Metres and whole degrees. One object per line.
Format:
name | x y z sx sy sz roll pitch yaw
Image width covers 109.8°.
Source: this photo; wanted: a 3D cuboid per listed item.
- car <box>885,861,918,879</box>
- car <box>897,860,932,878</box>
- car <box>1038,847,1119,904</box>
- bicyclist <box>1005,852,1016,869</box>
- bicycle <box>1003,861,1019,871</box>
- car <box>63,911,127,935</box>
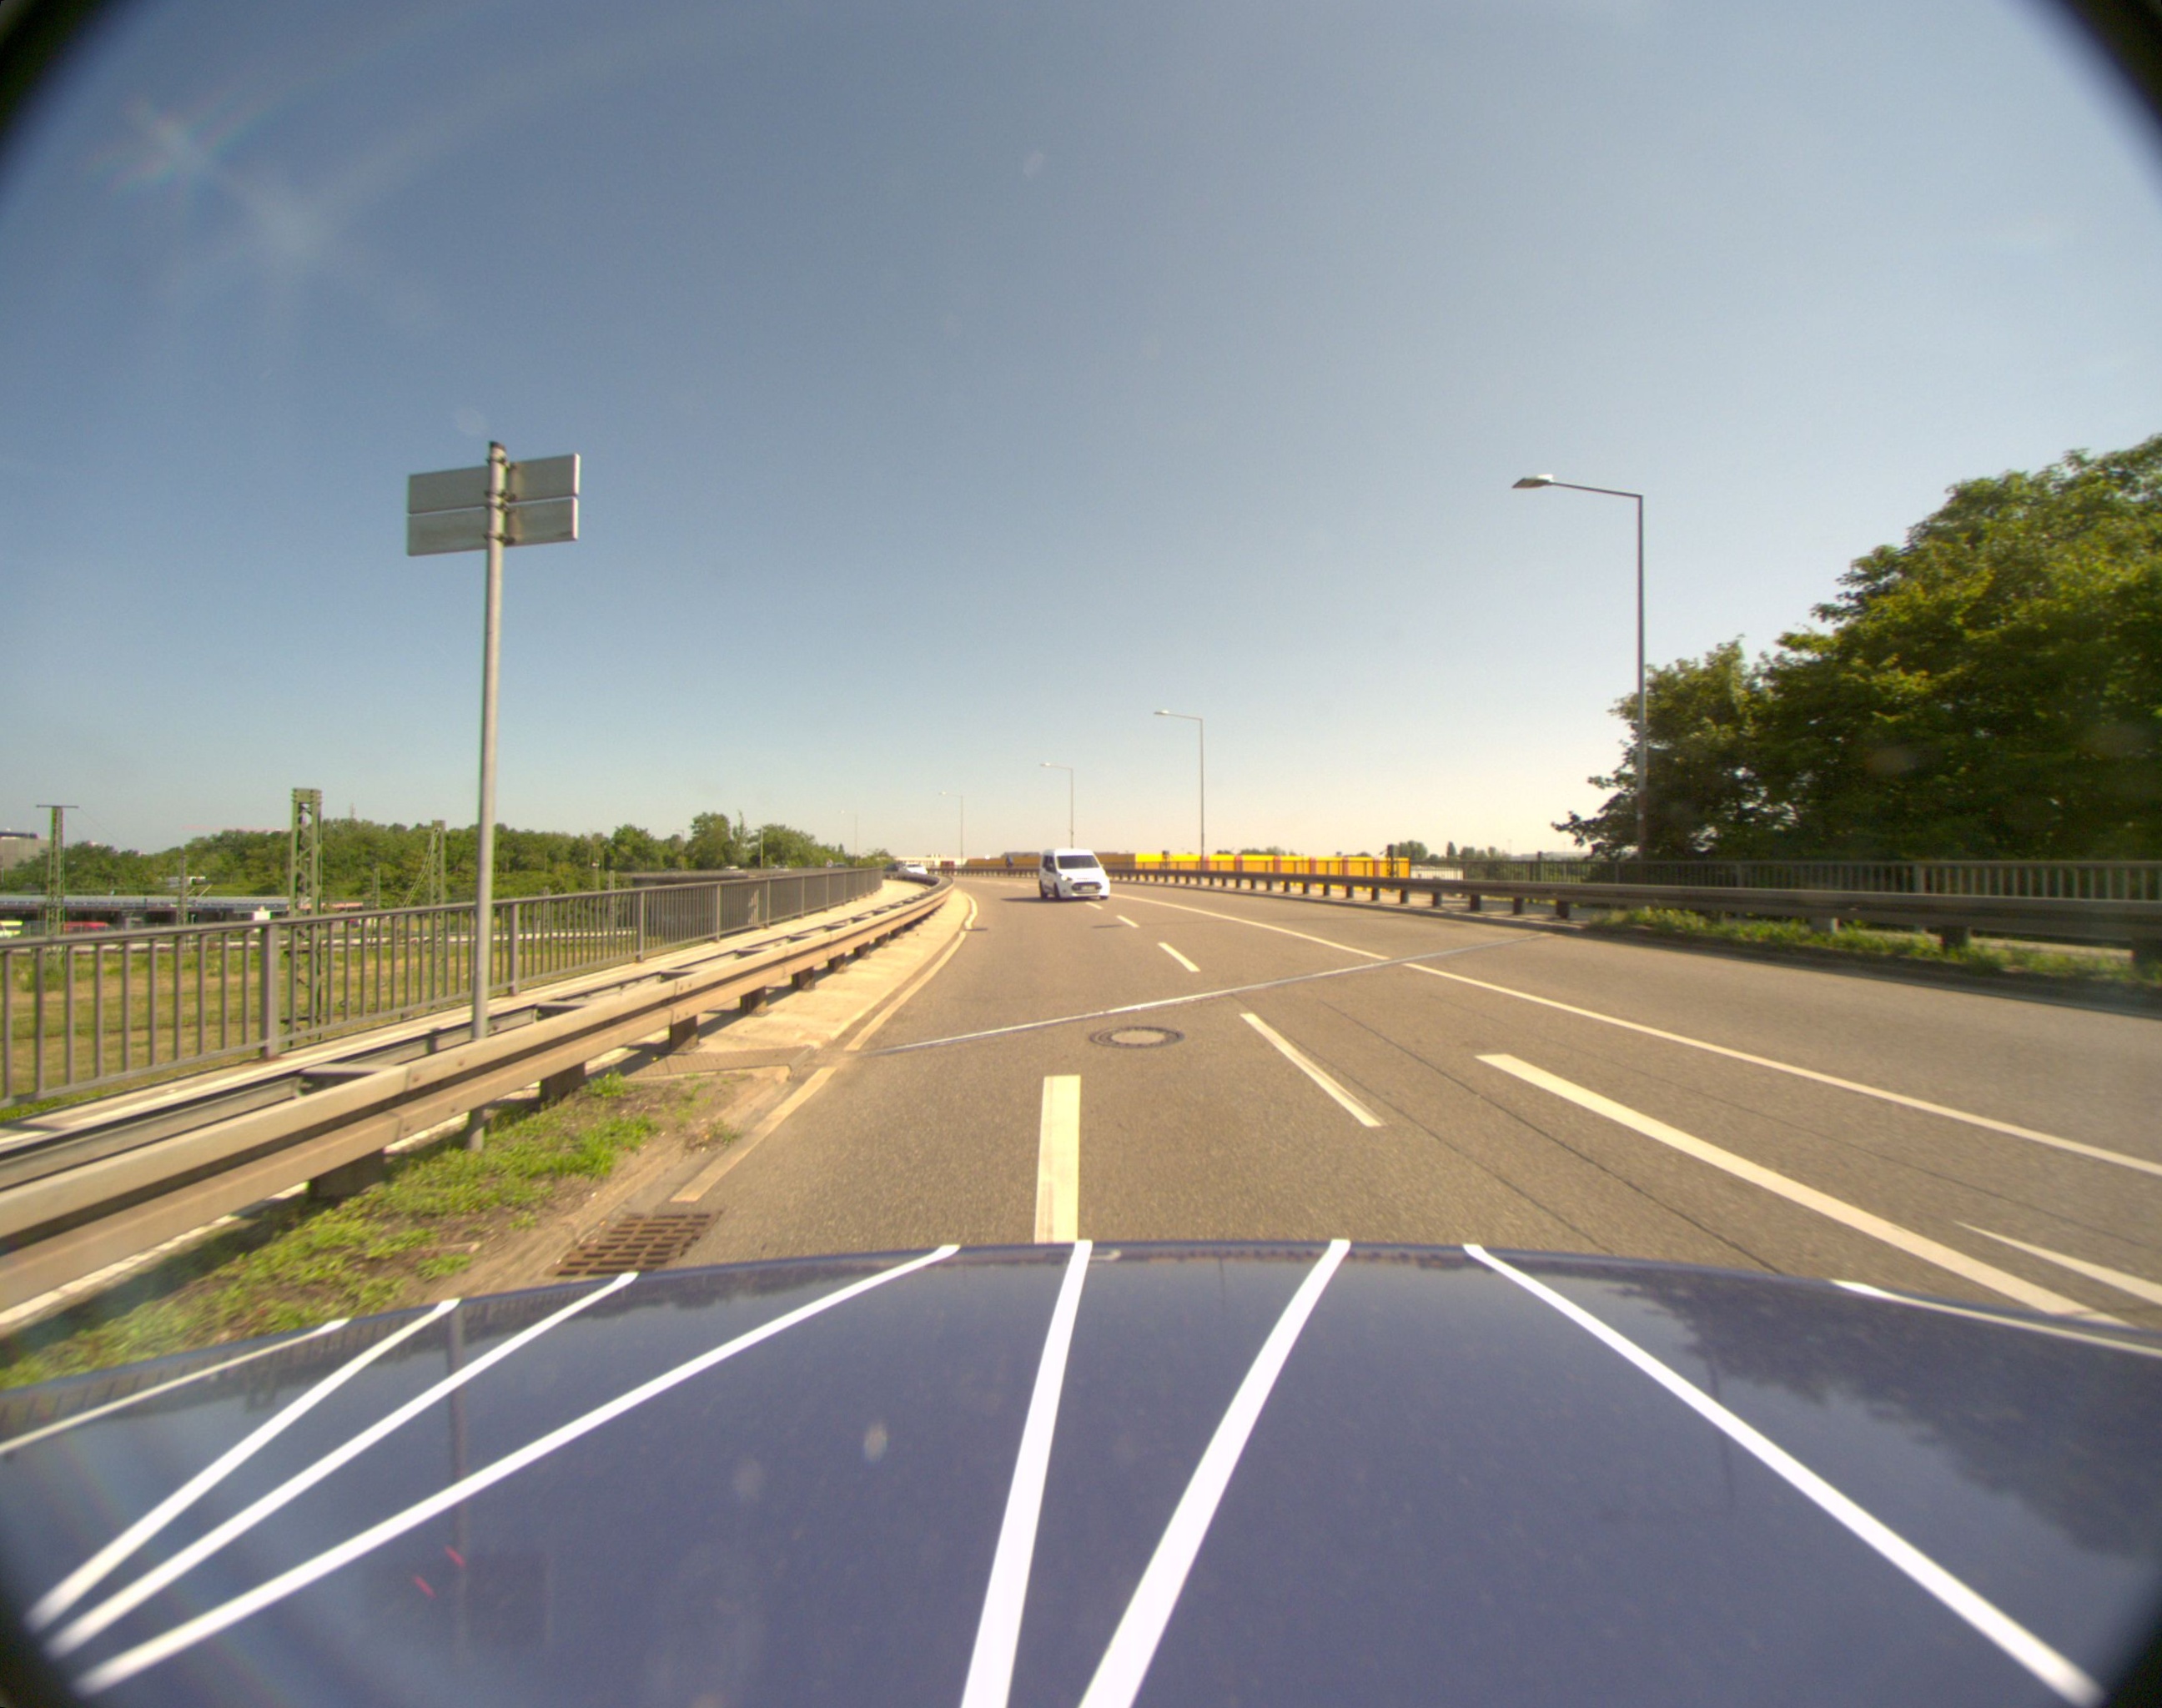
car | -19.634 1.743 83.094 1.850 1.816 4.677 -2 0 -34
car | -14.932 1.320 68.065 1.850 1.479 4.142 -2 0 -31
car | -0.200 0.716 26.951 1.899 1.785 4.442 -2 0 -13
bicyclist | -6.281 0.592 68.014 0.663 1.488 1.014 -2 1 -22
bicycle | -6.270 1.097 68.003 0.932 0.886 1.964 -2 0 -22
car | -124.355 8.678 95.834 5.370 2.650 2.307 0 5 8
